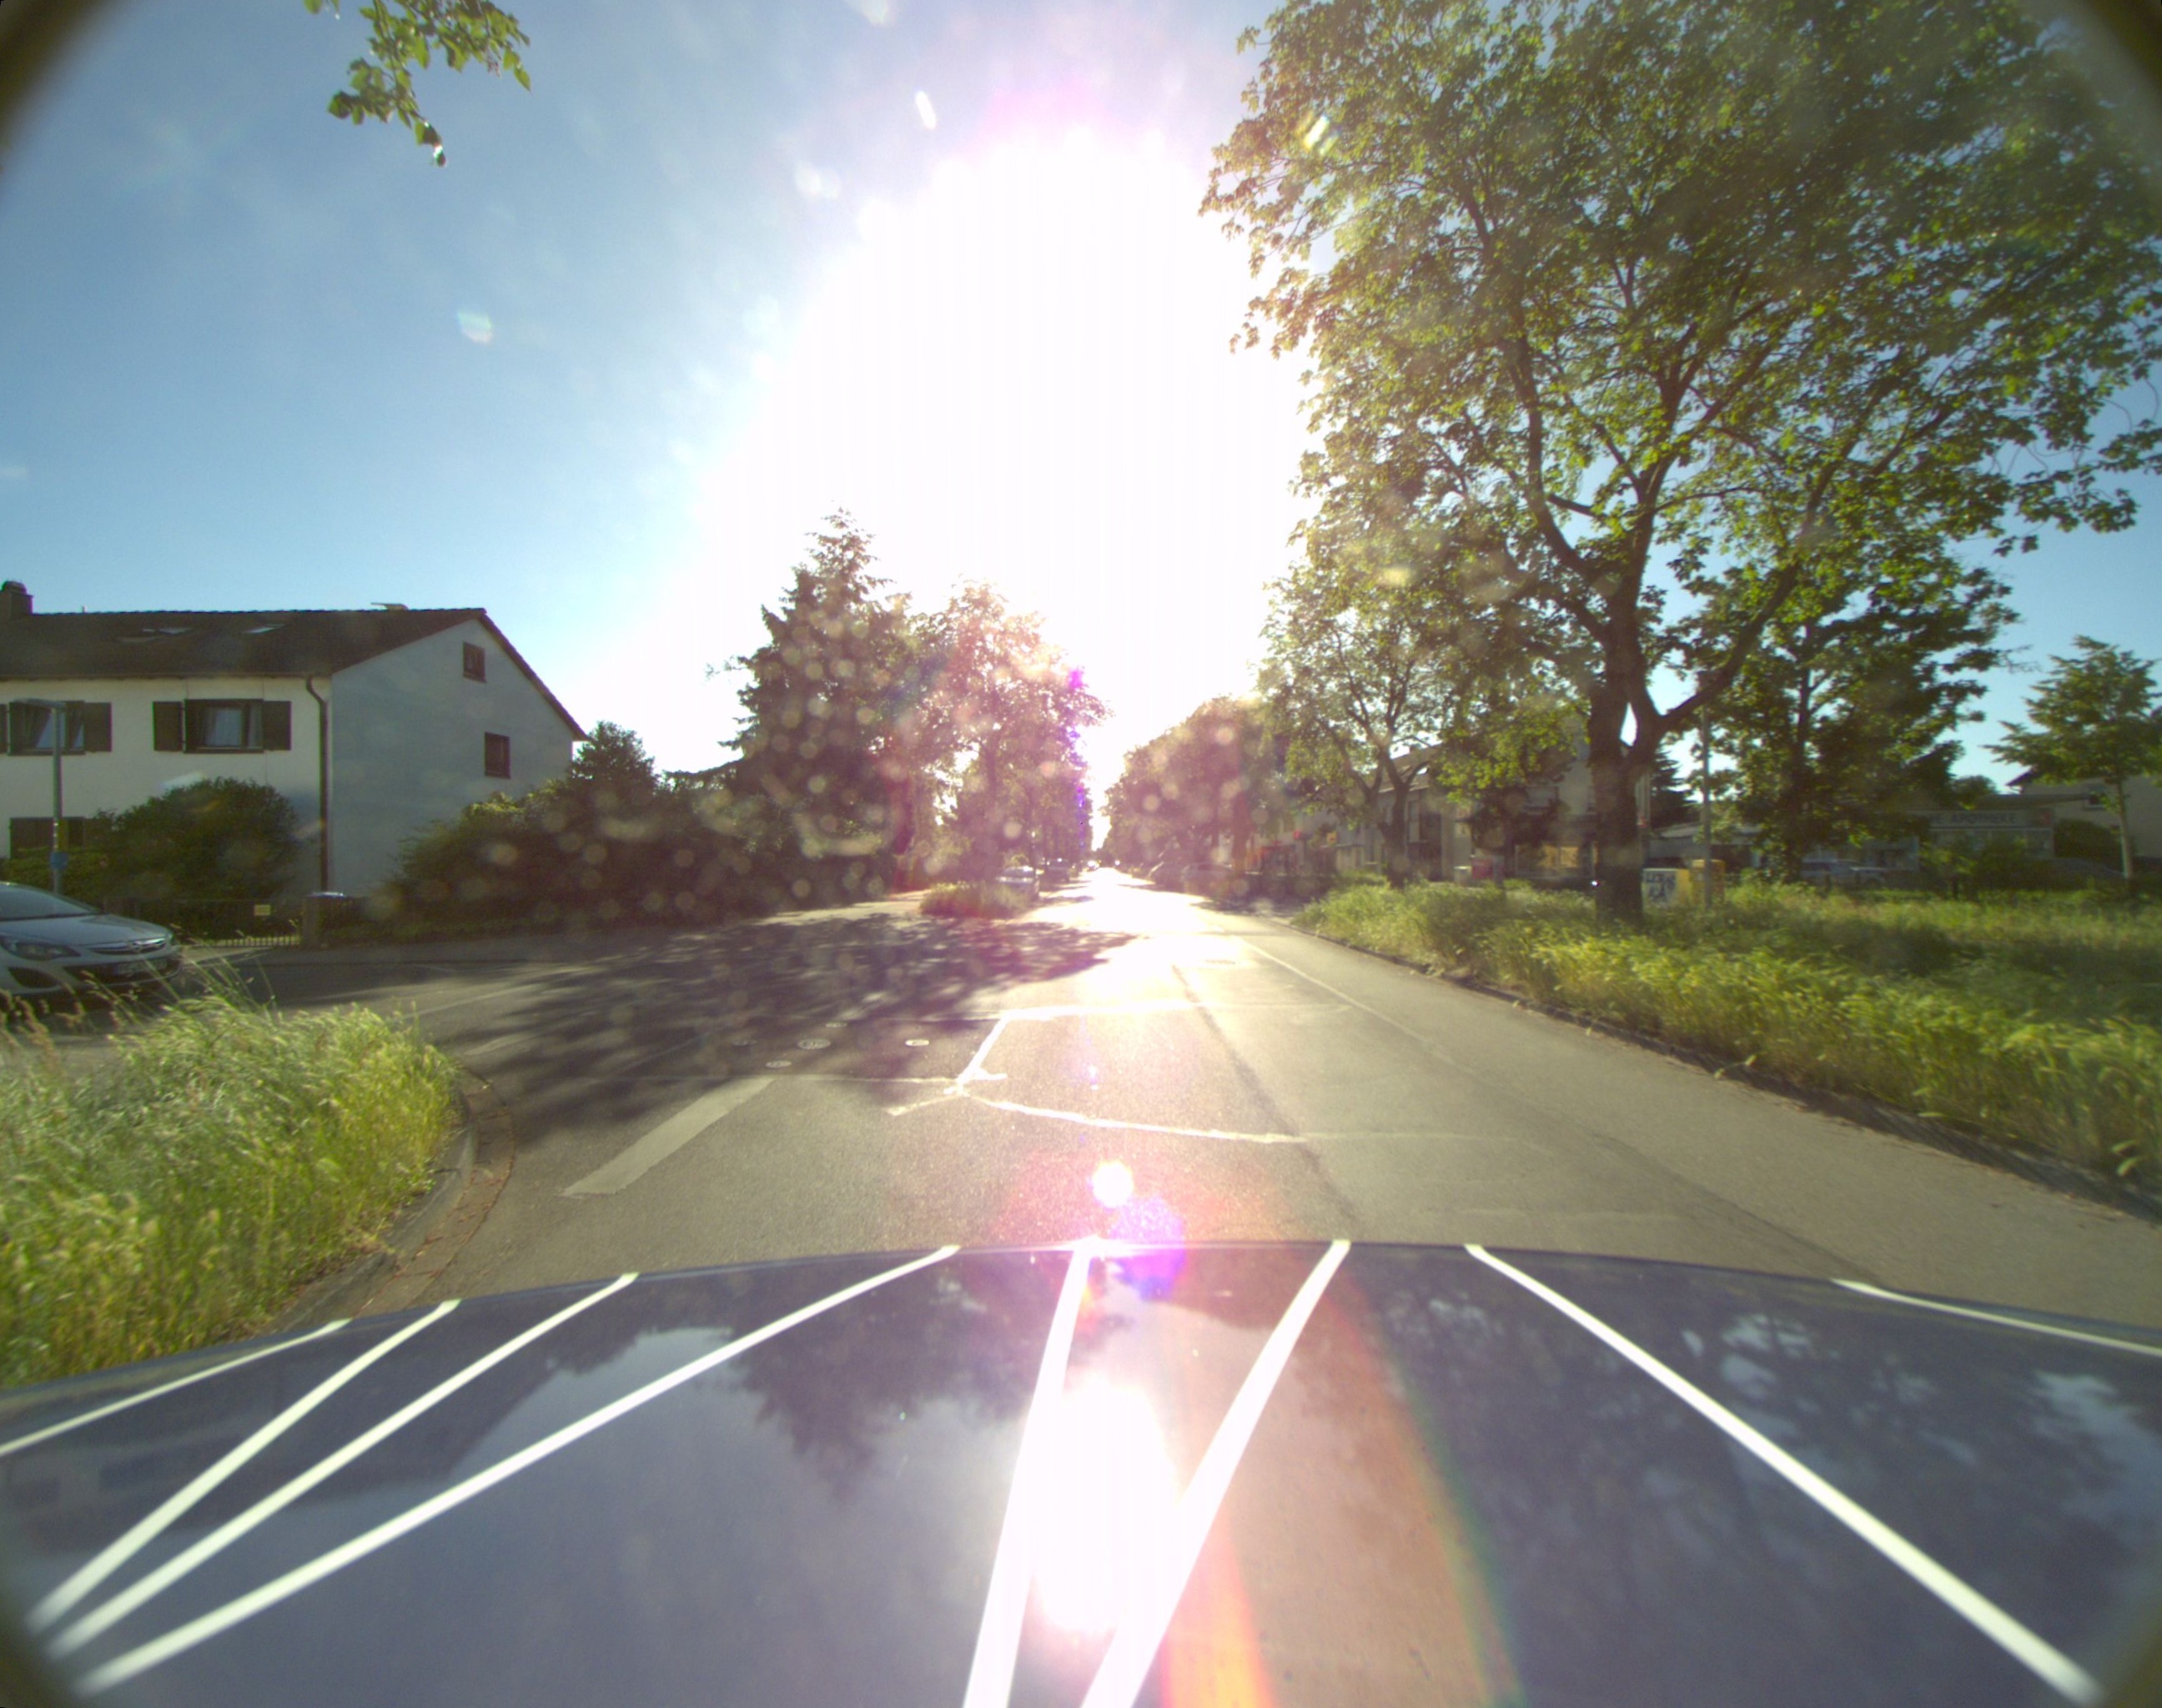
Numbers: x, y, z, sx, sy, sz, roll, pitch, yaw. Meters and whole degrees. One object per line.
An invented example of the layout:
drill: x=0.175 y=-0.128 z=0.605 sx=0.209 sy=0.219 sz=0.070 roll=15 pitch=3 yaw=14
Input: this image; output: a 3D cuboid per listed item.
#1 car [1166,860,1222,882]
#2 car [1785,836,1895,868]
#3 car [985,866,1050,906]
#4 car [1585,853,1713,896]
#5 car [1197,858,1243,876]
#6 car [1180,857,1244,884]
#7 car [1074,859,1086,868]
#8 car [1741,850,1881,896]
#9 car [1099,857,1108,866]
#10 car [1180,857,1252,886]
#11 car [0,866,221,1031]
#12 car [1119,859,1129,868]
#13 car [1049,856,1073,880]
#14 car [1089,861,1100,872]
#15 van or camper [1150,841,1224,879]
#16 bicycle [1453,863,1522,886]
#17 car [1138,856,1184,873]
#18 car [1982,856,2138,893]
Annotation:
car: x=8.925 y=1.319 z=60.248 sx=3.997 sy=1.450 sz=2.000 roll=-4 pitch=0 yaw=0
car: x=38.512 y=-0.101 z=38.697 sx=1.803 sy=1.510 sz=3.759 roll=-1 pitch=0 yaw=-2
car: x=-2.674 y=1.344 z=33.058 sx=1.997 sy=1.501 sz=4.002 roll=0 pitch=1 yaw=8
car: x=23.929 y=0.838 z=32.108 sx=3.997 sy=1.704 sz=1.822 roll=-1 pitch=0 yaw=1
car: x=13.200 y=1.235 z=72.332 sx=3.998 sy=1.533 sz=1.869 roll=-2 pitch=0 yaw=-4
car: x=9.010 y=1.131 z=52.405 sx=3.997 sy=1.580 sz=2.000 roll=-4 pitch=0 yaw=0
car: x=-0.173 y=1.725 z=145.000 sx=1.941 sy=1.684 sz=4.363 roll=-1 pitch=0 yaw=3
car: x=30.825 y=0.785 z=32.184 sx=3.997 sy=1.810 sz=2.000 roll=-1 pitch=0 yaw=1
car: x=4.437 y=1.417 z=147.166 sx=1.539 sy=1.582 sz=3.459 roll=-4 pitch=0 yaw=3
car: x=8.189 y=1.067 z=46.397 sx=3.997 sy=1.651 sz=1.967 roll=-1 pitch=0 yaw=0
car: x=-12.533 y=0.969 z=8.311 sx=3.999 sy=1.630 sz=1.776 roll=0 pitch=0 yaw=-5
car: x=9.007 y=2.011 z=160.779 sx=1.998 sy=1.530 sz=3.695 roll=-4 pitch=0 yaw=3
car: x=-1.864 y=1.265 z=71.687 sx=1.999 sy=2.002 sz=5.196 roll=-4 pitch=0 yaw=0
car: x=2.219 y=2.050 z=126.124 sx=1.539 sy=1.582 sz=3.459 roll=-4 pitch=0 yaw=3
van or camper: x=8.732 y=0.486 z=63.119 sx=5.789 sy=2.789 sz=2.000 roll=-4 pitch=1 yaw=3
bicycle: x=21.906 y=1.075 z=41.108 sx=0.706 sy=1.169 sz=4.051 roll=0 pitch=-1 yaw=-15
car: x=9.354 y=1.206 z=89.518 sx=5.075 sy=1.718 sz=1.999 roll=-4 pitch=0 yaw=-3
car: x=41.483 y=0.851 z=32.271 sx=3.997 sy=1.530 sz=2.000 roll=0 pitch=0 yaw=1
